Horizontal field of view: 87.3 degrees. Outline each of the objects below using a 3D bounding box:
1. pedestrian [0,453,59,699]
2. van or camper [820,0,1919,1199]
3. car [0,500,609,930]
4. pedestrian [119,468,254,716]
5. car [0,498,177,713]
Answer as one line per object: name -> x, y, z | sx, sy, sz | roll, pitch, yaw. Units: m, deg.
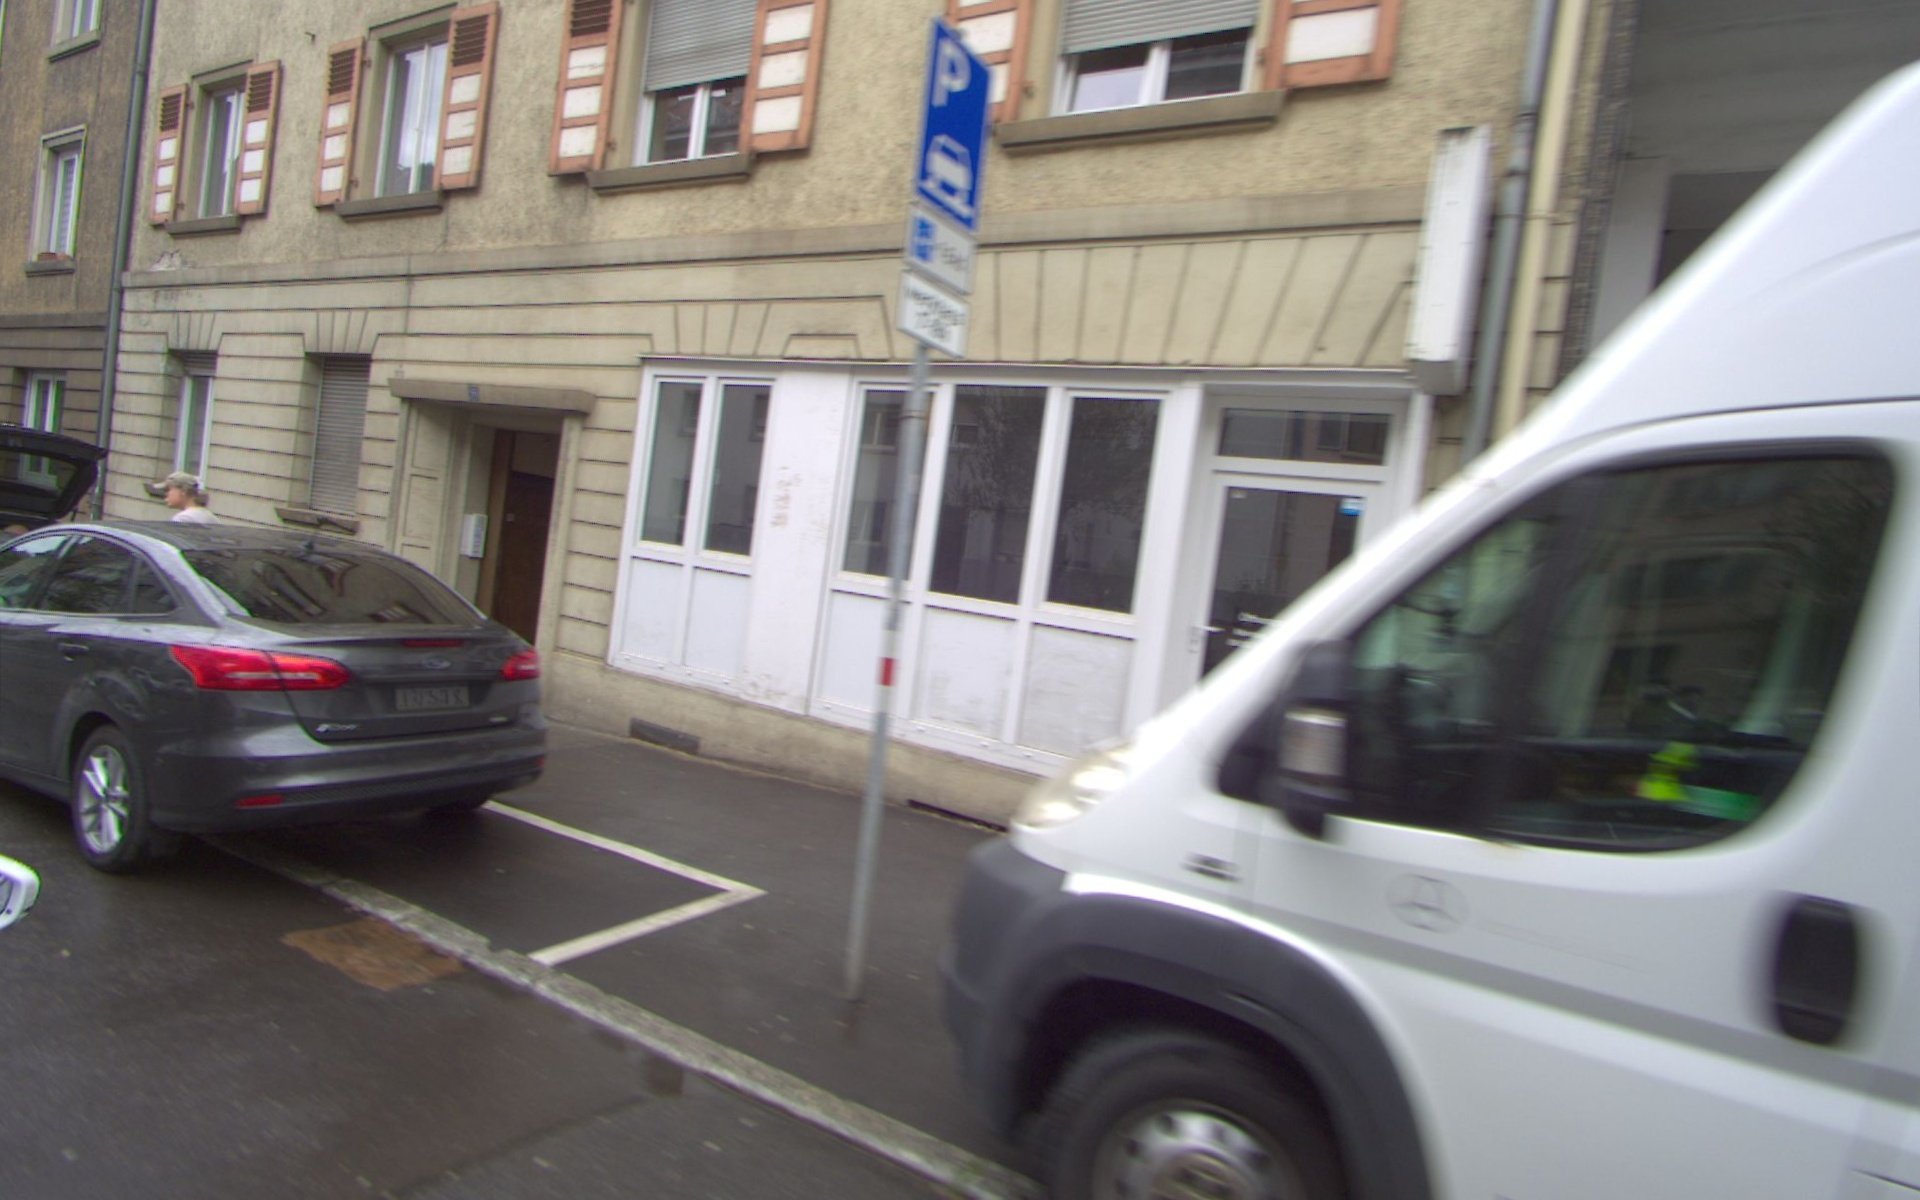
pedestrian -> -6.986, -0.179, 7.151 | 0.625, 1.716, 0.629 | 5, 7, 32
van or camper -> 2.912, 0.488, 1.637 | 6.321, 2.734, 2.183 | 7, 2, 37
car -> -4.120, 0.326, 5.423 | 4.117, 1.498, 1.781 | 6, 0, 27
pedestrian -> -5.971, -0.051, 7.803 | 0.705, 1.811, 0.681 | 3, 3, -32
car -> -8.563, -0.151, 8.185 | 4.509, 1.498, 1.780 | 6, 0, 29
